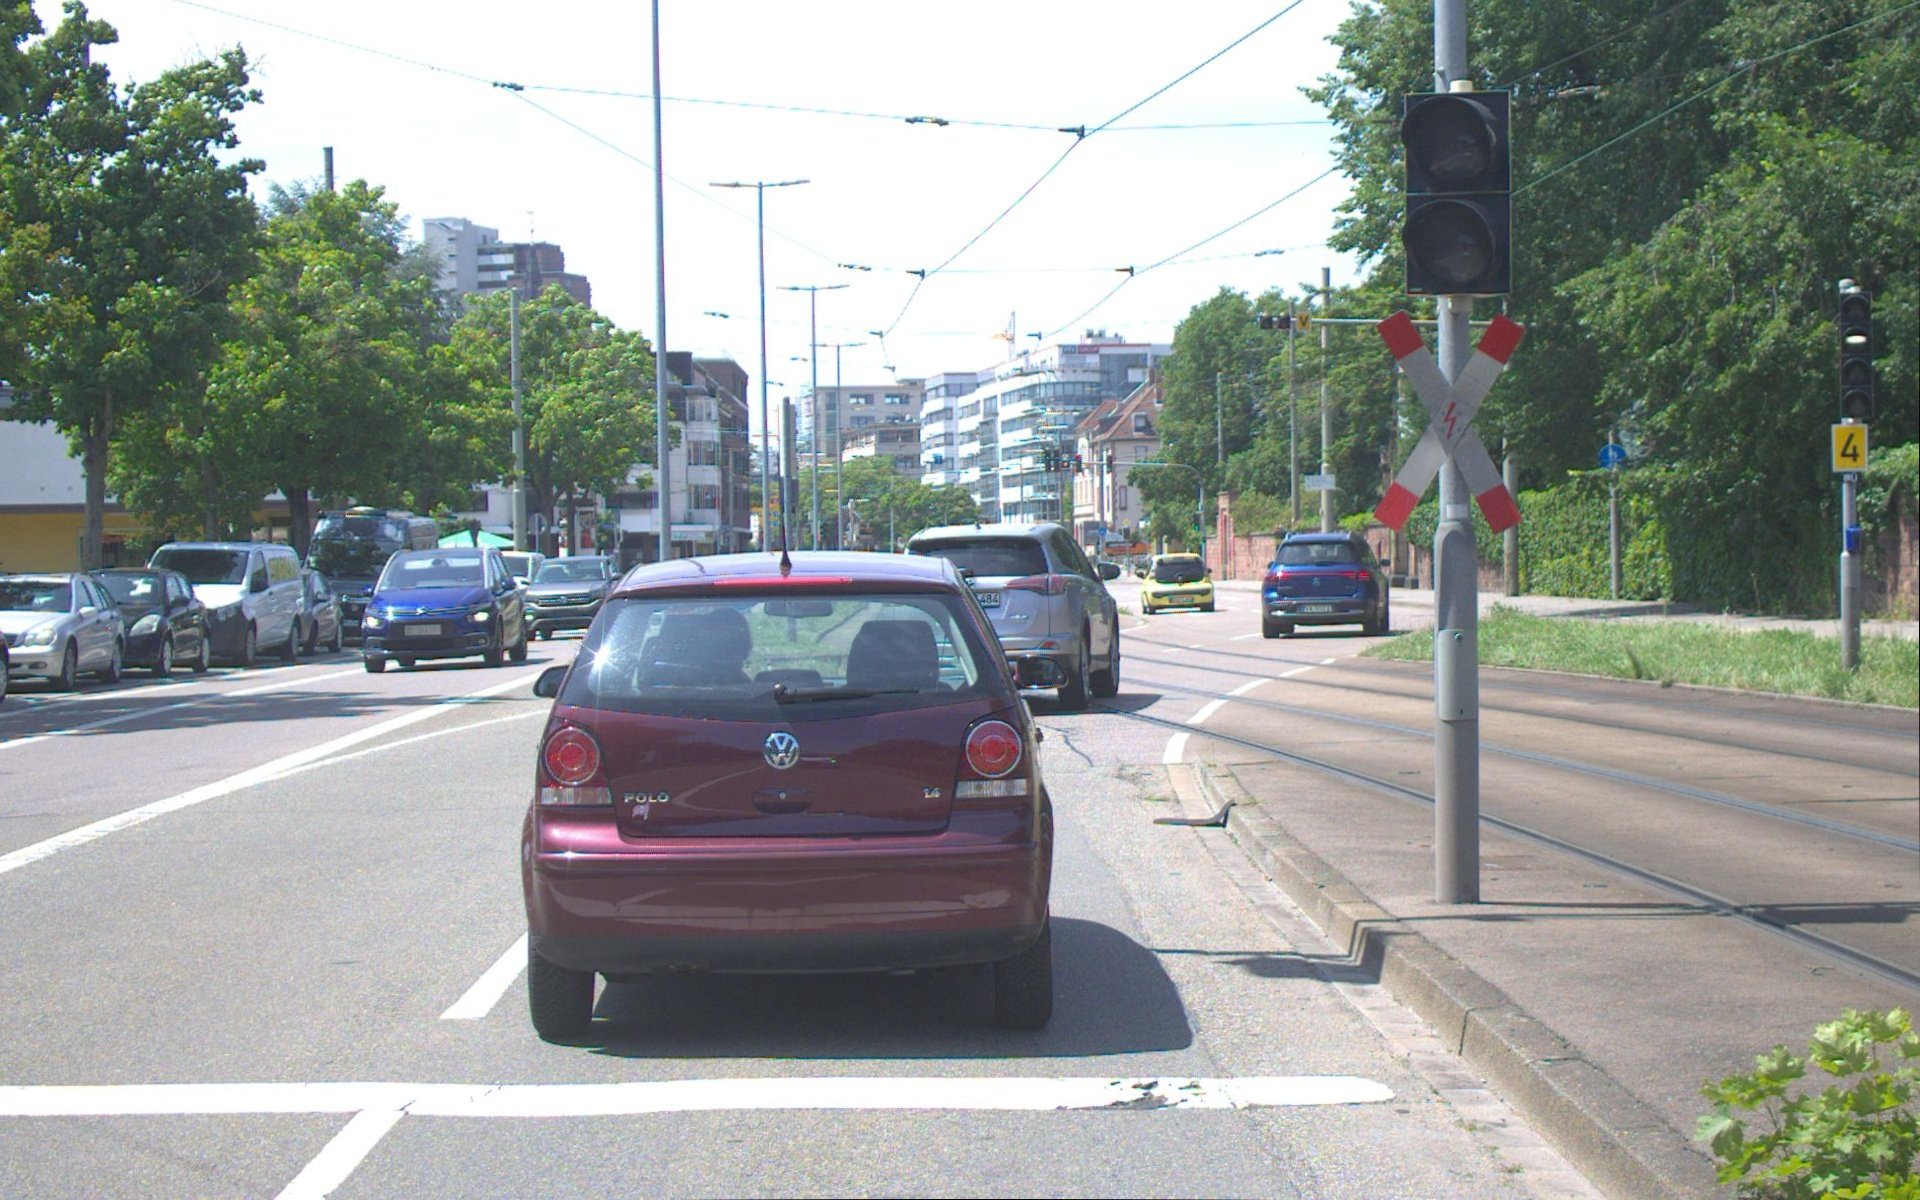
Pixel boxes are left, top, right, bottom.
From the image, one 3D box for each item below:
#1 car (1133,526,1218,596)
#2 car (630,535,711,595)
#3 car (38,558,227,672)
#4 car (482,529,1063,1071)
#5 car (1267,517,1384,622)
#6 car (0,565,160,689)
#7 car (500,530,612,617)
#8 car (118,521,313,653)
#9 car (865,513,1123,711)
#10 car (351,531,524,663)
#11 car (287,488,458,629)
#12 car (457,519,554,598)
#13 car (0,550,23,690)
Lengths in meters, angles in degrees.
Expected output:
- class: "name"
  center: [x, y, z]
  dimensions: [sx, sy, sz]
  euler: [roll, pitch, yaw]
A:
- class: "car"
  center: [5.228, -0.960, 83.748]
  dimensions: [1.795, 1.677, 4.000]
  euler: [0, 1, 0]
- class: "car"
  center: [-6.981, -0.860, 83.118]
  dimensions: [1.648, 1.371, 3.811]
  euler: [-1, 1, -1]
- class: "car"
  center: [-11.566, 0.179, 48.274]
  dimensions: [1.614, 1.479, 3.785]
  euler: [2, 1, 1]
- class: "car"
  center: [-0.536, 0.550, 11.847]
  dimensions: [1.609, 1.493, 4.000]
  euler: [-2, 1, 0]
- class: "car"
  center: [5.925, -0.502, 55.403]
  dimensions: [1.774, 1.625, 3.999]
  euler: [0, 1, 8]
- class: "car"
  center: [-11.581, 0.313, 43.547]
  dimensions: [1.719, 1.422, 4.771]
  euler: [-2, 1, 0]
- class: "car"
  center: [-7.641, -0.523, 65.292]
  dimensions: [1.737, 1.570, 3.713]
  euler: [-1, 1, -1]
- class: "car"
  center: [-11.567, -0.233, 53.739]
  dimensions: [1.862, 1.930, 4.805]
  euler: [-1, 1, 1]
- class: "car"
  center: [0.376, 0.064, 31.192]
  dimensions: [1.796, 1.677, 3.999]
  euler: [0, 1, 9]
- class: "car"
  center: [-7.058, -0.070, 46.798]
  dimensions: [1.737, 1.651, 4.067]
  euler: [-2, 1, -1]
- class: "car"
  center: [-11.700, -0.846, 68.862]
  dimensions: [2.398, 2.647, 6.173]
  euler: [-1, 1, -1]
- class: "car"
  center: [-11.847, -1.098, 89.824]
  dimensions: [1.875, 1.958, 5.165]
  euler: [-1, 1, -1]
- class: "car"
  center: [-11.389, 0.227, 36.690]
  dimensions: [1.672, 1.541, 3.727]
  euler: [0, 0, 1]
